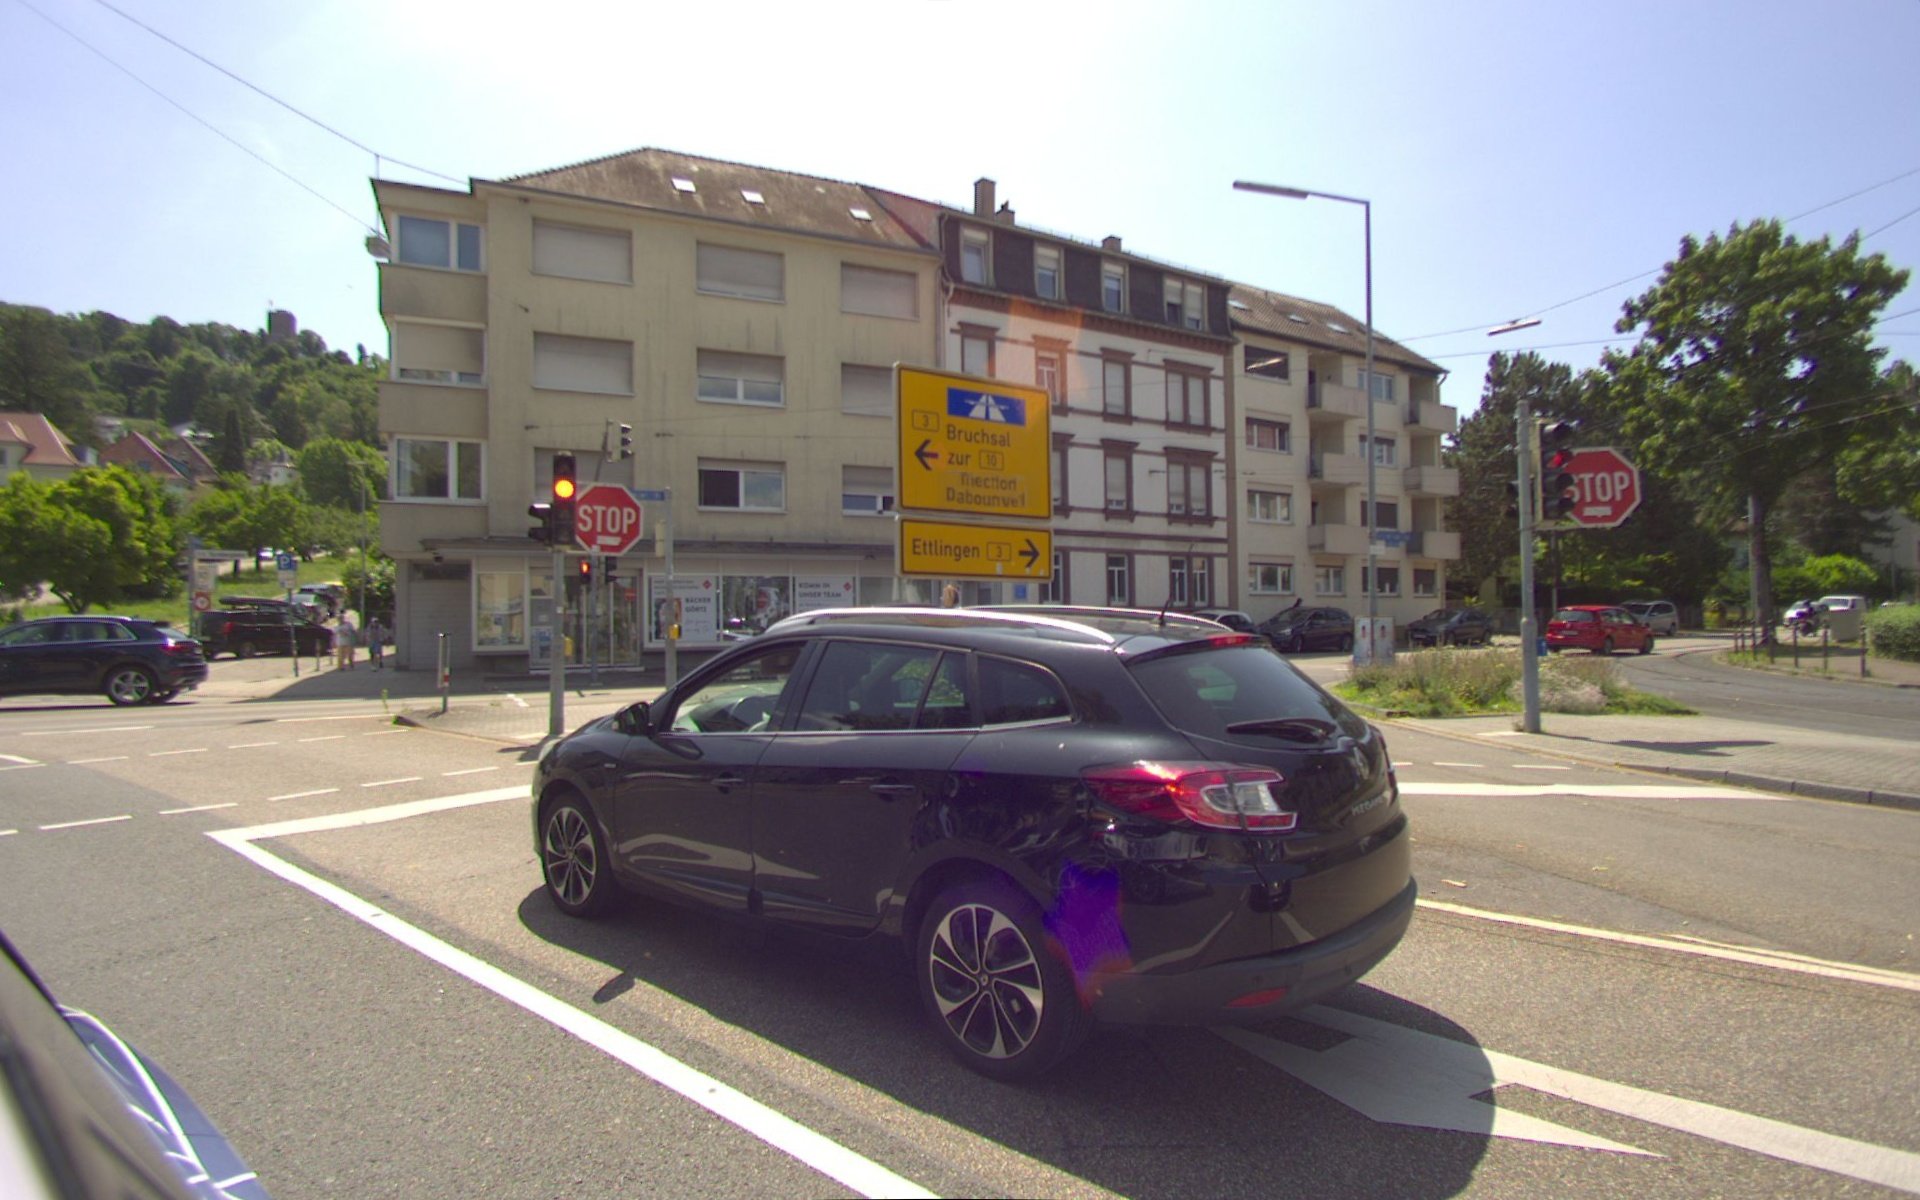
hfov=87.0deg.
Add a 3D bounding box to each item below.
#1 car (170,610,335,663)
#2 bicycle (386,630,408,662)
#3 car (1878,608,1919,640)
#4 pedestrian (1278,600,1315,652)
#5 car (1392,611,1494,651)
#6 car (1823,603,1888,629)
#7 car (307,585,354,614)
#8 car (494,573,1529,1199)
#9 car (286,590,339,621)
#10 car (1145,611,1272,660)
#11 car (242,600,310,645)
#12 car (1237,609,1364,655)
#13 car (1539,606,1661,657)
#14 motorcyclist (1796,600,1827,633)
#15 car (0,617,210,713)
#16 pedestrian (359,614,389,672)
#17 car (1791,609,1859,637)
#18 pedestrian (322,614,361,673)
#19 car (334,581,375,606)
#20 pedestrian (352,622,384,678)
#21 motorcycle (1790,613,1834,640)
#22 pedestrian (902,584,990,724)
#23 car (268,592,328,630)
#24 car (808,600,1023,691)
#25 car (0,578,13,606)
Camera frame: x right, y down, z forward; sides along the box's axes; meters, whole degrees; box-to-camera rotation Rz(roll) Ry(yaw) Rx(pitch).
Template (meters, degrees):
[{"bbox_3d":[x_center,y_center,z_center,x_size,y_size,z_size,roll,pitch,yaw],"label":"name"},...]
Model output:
[{"bbox_3d":[-23.616,1.192,33.990,1.982,1.676,4.307,-1,-1,16],"label":"car"},{"bbox_3d":[-19.416,1.581,34.927,0.490,1.034,1.749,0,-1,-23],"label":"bicycle"},{"bbox_3d":[47.682,1.170,50.273,3.968,1.569,1.810,0,-1,-28],"label":"car"},{"bbox_3d":[12.881,1.002,38.725,0.960,1.946,0.940,0,-2,-34],"label":"pedestrian"},{"bbox_3d":[19.426,1.229,40.688,3.933,1.521,2.005,0,-2,-35],"label":"car"},{"bbox_3d":[57.318,0.993,64.786,3.968,1.569,1.811,0,2,-28],"label":"car"},{"bbox_3d":[-35.603,-0.045,57.318,1.778,1.431,4.014,0,2,-25],"label":"car"},{"bbox_3d":[-0.144,0.748,4.585,4.423,1.511,1.973,-2,-2,41],"label":"car"},{"bbox_3d":[-33.140,0.257,51.869,1.778,1.398,4.014,0,2,-25],"label":"car"},{"bbox_3d":[8.247,1.135,33.466,3.934,1.530,2.005,1,-1,-35],"label":"car"},{"bbox_3d":[-28.738,0.884,42.628,1.778,1.628,4.014,0,2,-25],"label":"car"},{"bbox_3d":[12.026,1.092,35.716,4.308,1.521,2.005,0,-2,-33],"label":"car"},{"bbox_3d":[20.847,0.980,32.949,3.969,1.569,1.810,0,-1,-32],"label":"car"},{"bbox_3d":[38.046,0.740,45.215,1.001,1.456,0.715,0,-1,-28],"label":"motorcyclist"},{"bbox_3d":[-15.966,1.144,17.751,4.211,1.570,1.864,0,-4,-25],"label":"car"},{"bbox_3d":[-16.784,1.227,29.005,0.637,1.645,0.690,0,-1,-21],"label":"pedestrian"},{"bbox_3d":[52.148,1.342,61.012,3.968,1.569,1.811,0,2,-28],"label":"car"},{"bbox_3d":[-17.676,1.241,28.949,0.808,1.645,0.807,0,-1,-21],"label":"pedestrian"},{"bbox_3d":[-39.185,-0.434,65.576,1.826,1.431,4.014,0,2,-25],"label":"car"},{"bbox_3d":[-16.083,1.358,27.497,0.637,1.487,0.690,0,-1,-21],"label":"pedestrian"},{"bbox_3d":[38.067,1.170,45.217,2.159,1.142,0.715,0,-1,-28],"label":"motorcycle"},{"bbox_3d":[-0.176,0.675,13.035,0.838,1.718,0.752,-2,-2,41],"label":"pedestrian"},{"bbox_3d":[-30.895,0.456,47.306,1.778,1.562,4.014,0,2,-25],"label":"car"},{"bbox_3d":[-0.884,0.857,20.394,3.931,1.644,1.765,0,-1,-28],"label":"car"},{"bbox_3d":[-52.032,-0.395,53.638,1.728,1.458,3.752,0,3,-28],"label":"car"}]
